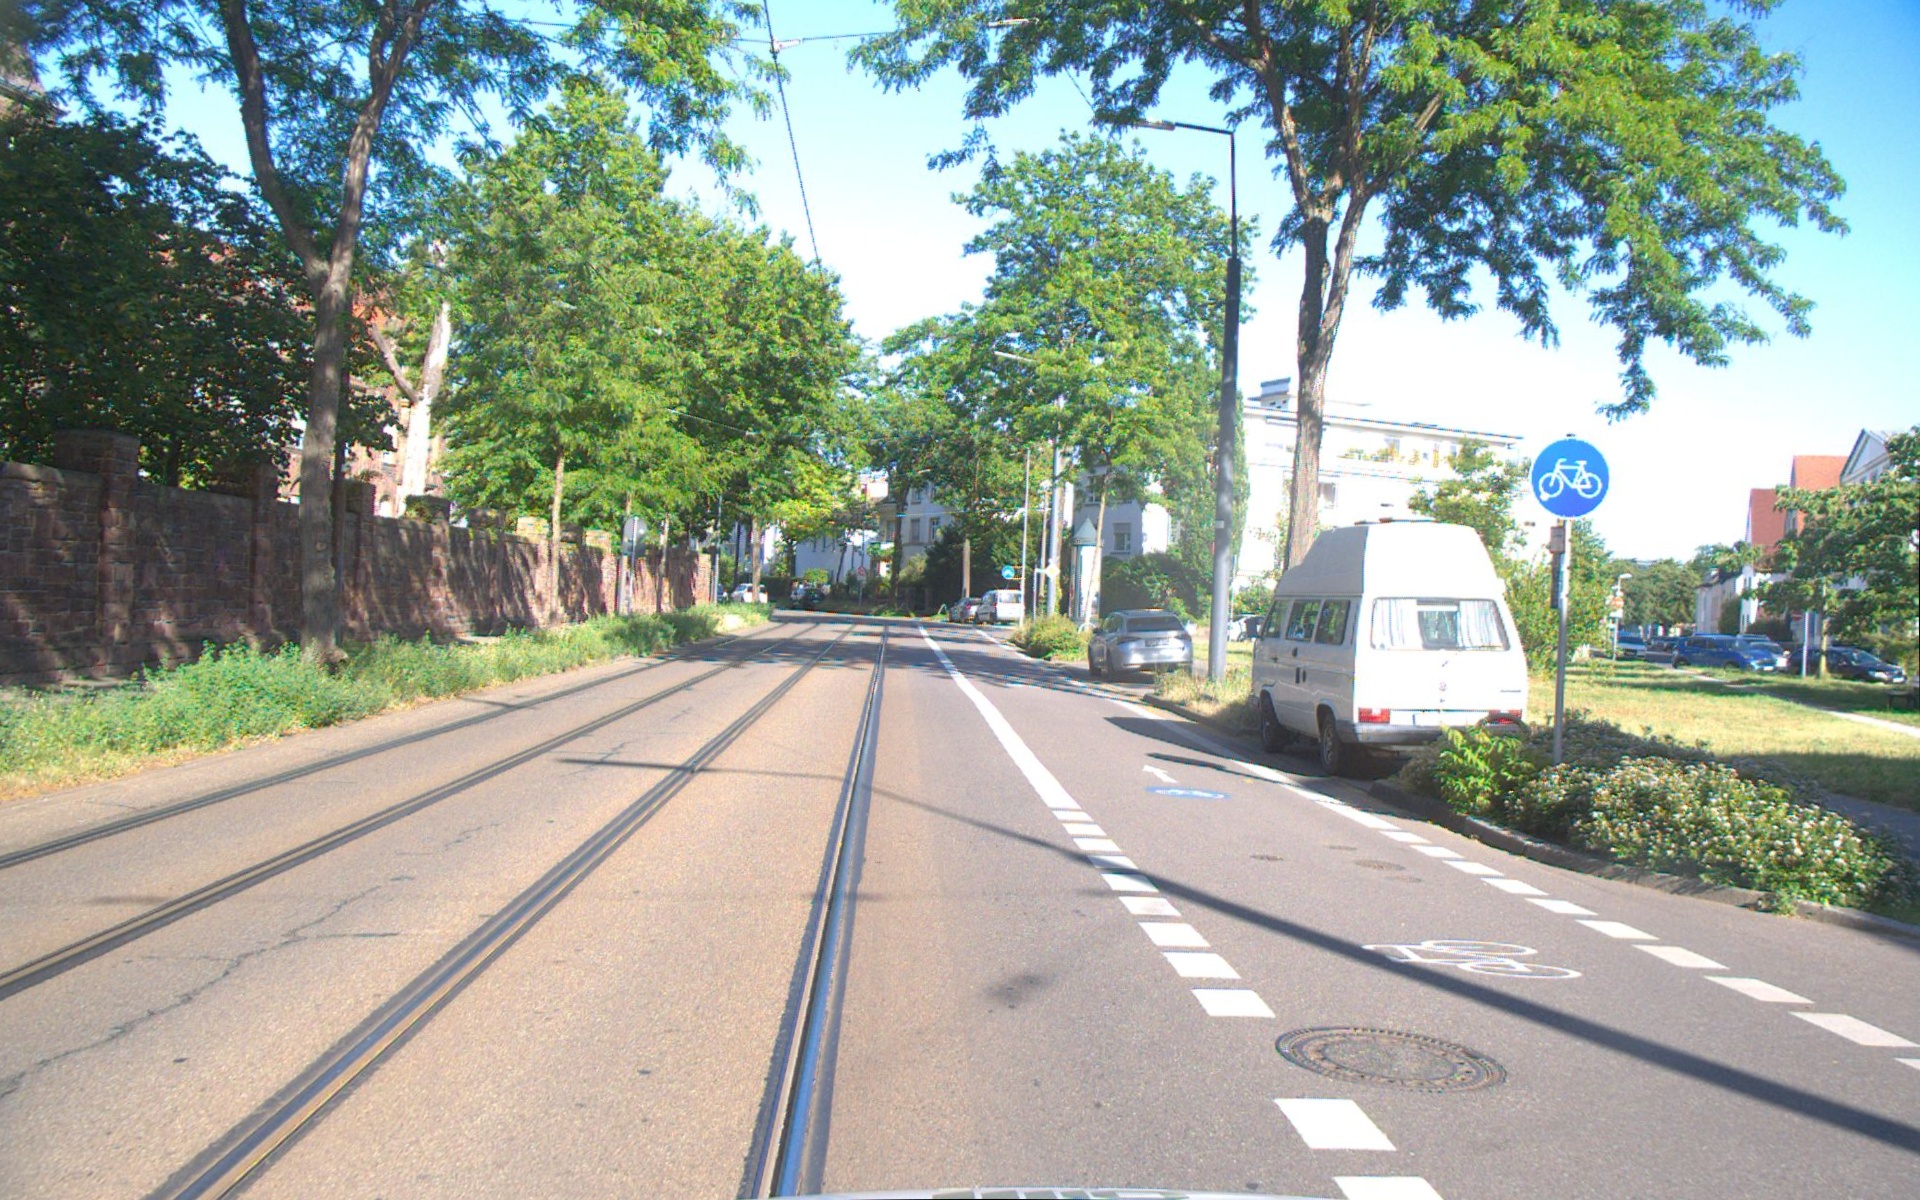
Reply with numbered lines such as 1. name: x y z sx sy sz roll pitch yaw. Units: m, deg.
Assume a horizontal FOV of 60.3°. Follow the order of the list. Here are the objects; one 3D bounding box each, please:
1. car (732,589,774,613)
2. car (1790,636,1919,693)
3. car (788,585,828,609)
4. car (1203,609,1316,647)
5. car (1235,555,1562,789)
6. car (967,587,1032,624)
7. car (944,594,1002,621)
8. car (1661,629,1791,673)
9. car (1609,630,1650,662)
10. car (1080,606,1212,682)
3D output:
1. car: -15.237 0.072 121.422 1.868 1.639 4.197 3 -2 -24
2. car: 33.034 2.368 61.076 1.963 1.811 3.980 3 0 -18
3. car: -11.396 -0.233 123.915 1.779 1.723 4.699 -1 1 -21
4. car: 12.952 1.212 71.613 4.444 1.393 1.957 3 0 -21
5. car: 4.538 0.662 17.960 1.954 2.132 4.713 2 0 -4
6. car: 2.029 0.269 86.585 1.991 1.777 4.729 2 0 -17
7. car: 0.699 0.405 92.424 1.963 1.448 4.310 2 0 -18
8. car: 31.051 2.044 67.212 2.029 1.496 4.726 3 0 -21
9. car: 38.651 2.636 95.587 2.003 1.738 4.288 3 0 20
10. car: 3.977 0.906 36.270 1.961 1.491 5.429 -1 0 -4
